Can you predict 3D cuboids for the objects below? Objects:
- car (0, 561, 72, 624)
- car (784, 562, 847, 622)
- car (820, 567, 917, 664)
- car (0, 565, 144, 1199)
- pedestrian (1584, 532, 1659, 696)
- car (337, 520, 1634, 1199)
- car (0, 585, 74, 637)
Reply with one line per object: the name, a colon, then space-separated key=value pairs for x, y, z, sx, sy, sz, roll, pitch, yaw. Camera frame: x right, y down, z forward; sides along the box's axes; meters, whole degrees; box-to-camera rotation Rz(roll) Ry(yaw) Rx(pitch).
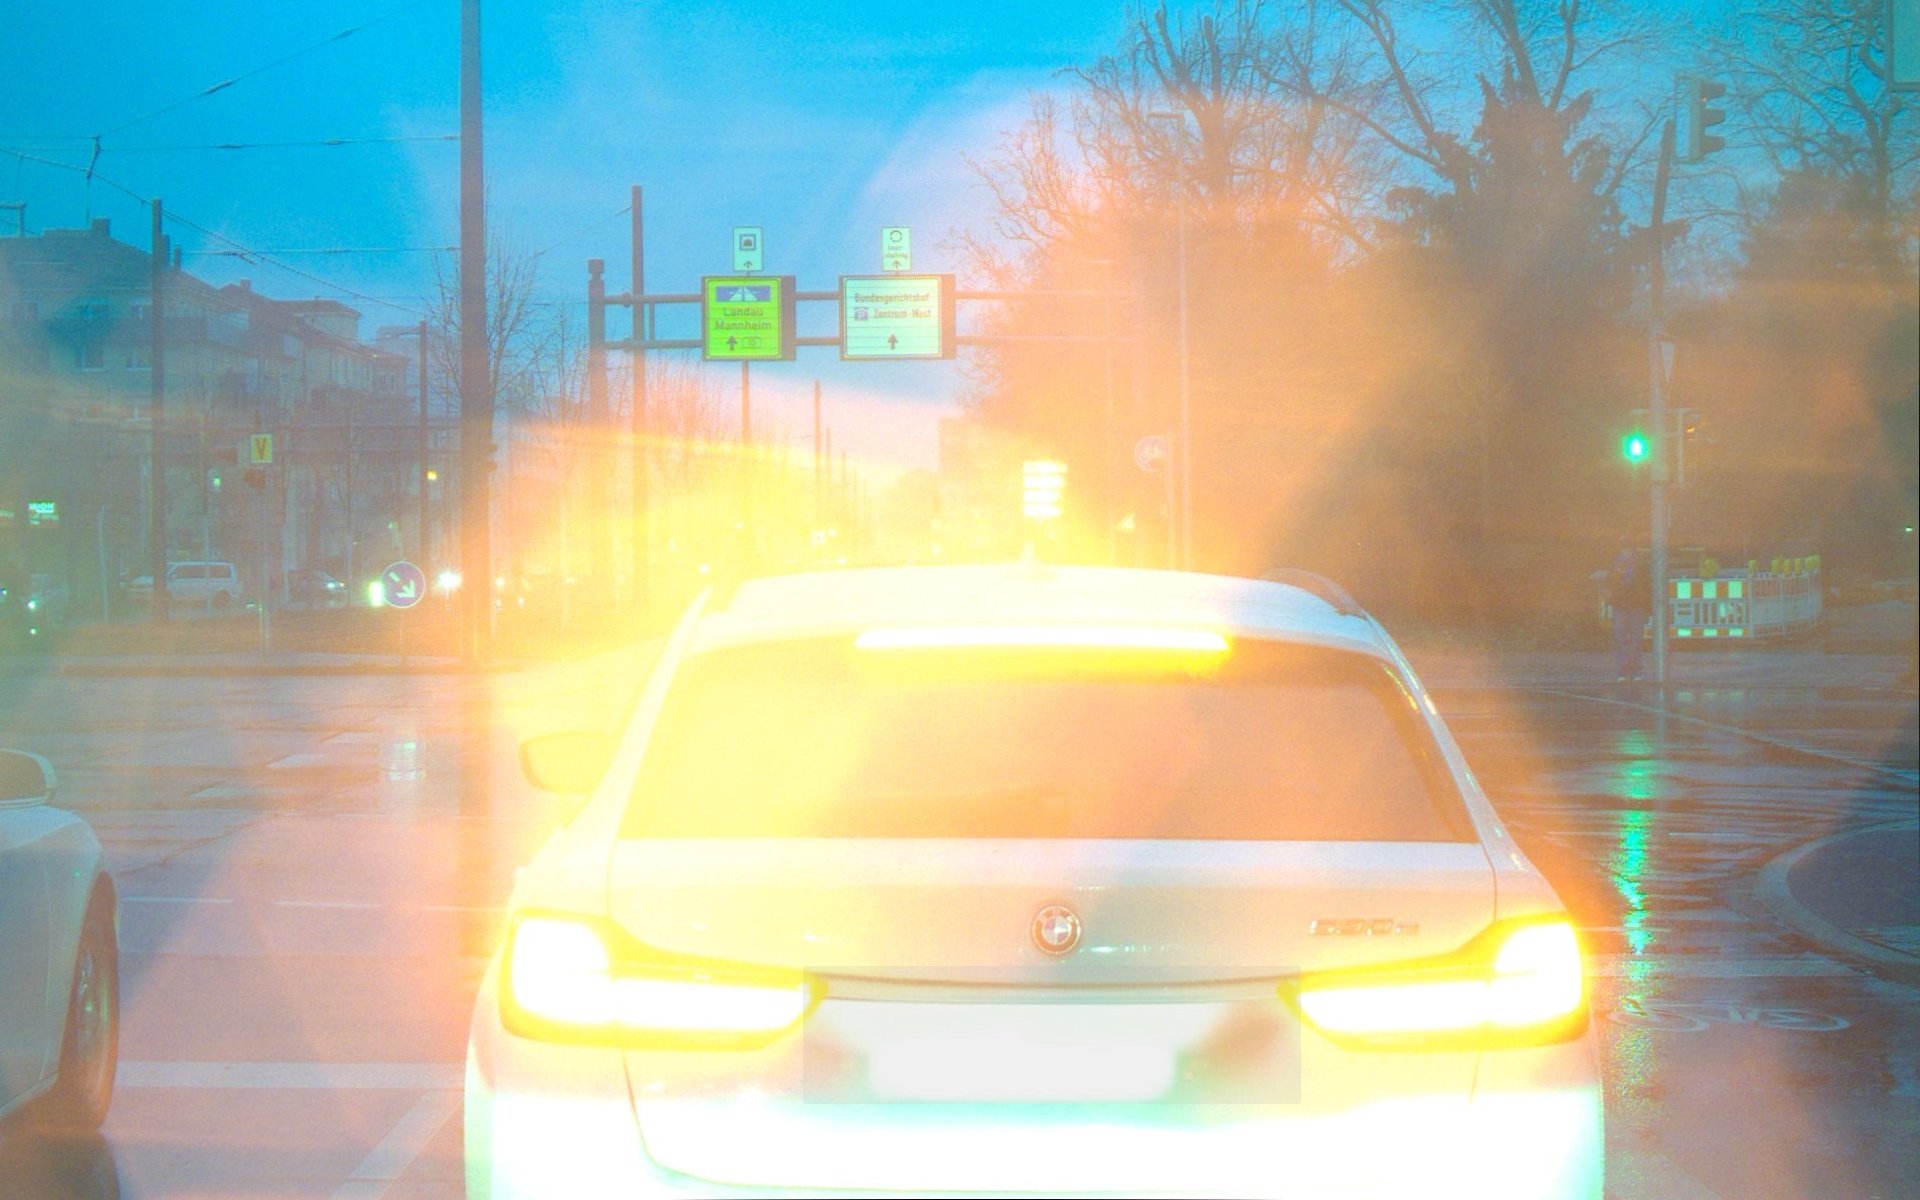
car: x=-22.854 y=-0.206 z=82.774 sx=1.993 sy=1.457 sz=5.096 roll=1 pitch=1 yaw=-4
car: x=-4.961 y=-0.282 z=118.417 sx=1.993 sy=2.007 sz=4.000 roll=1 pitch=1 yaw=-1
car: x=-1.923 y=0.304 z=73.513 sx=1.993 sy=2.007 sz=4.000 roll=1 pitch=1 yaw=-1
car: x=-2.959 y=0.654 z=6.987 sx=1.759 sy=1.464 sz=4.252 roll=1 pitch=1 yaw=-3
pedestrian: x=7.667 y=0.161 z=39.875 sx=0.673 sy=1.873 sz=0.715 roll=1 pitch=0 yaw=-3
car: x=-0.062 y=0.655 z=6.816 sx=1.759 sy=1.547 sz=4.252 roll=1 pitch=1 yaw=-3
car: x=-27.953 y=0.304 z=102.433 sx=1.993 sy=1.457 sz=5.095 roll=1 pitch=1 yaw=-2
